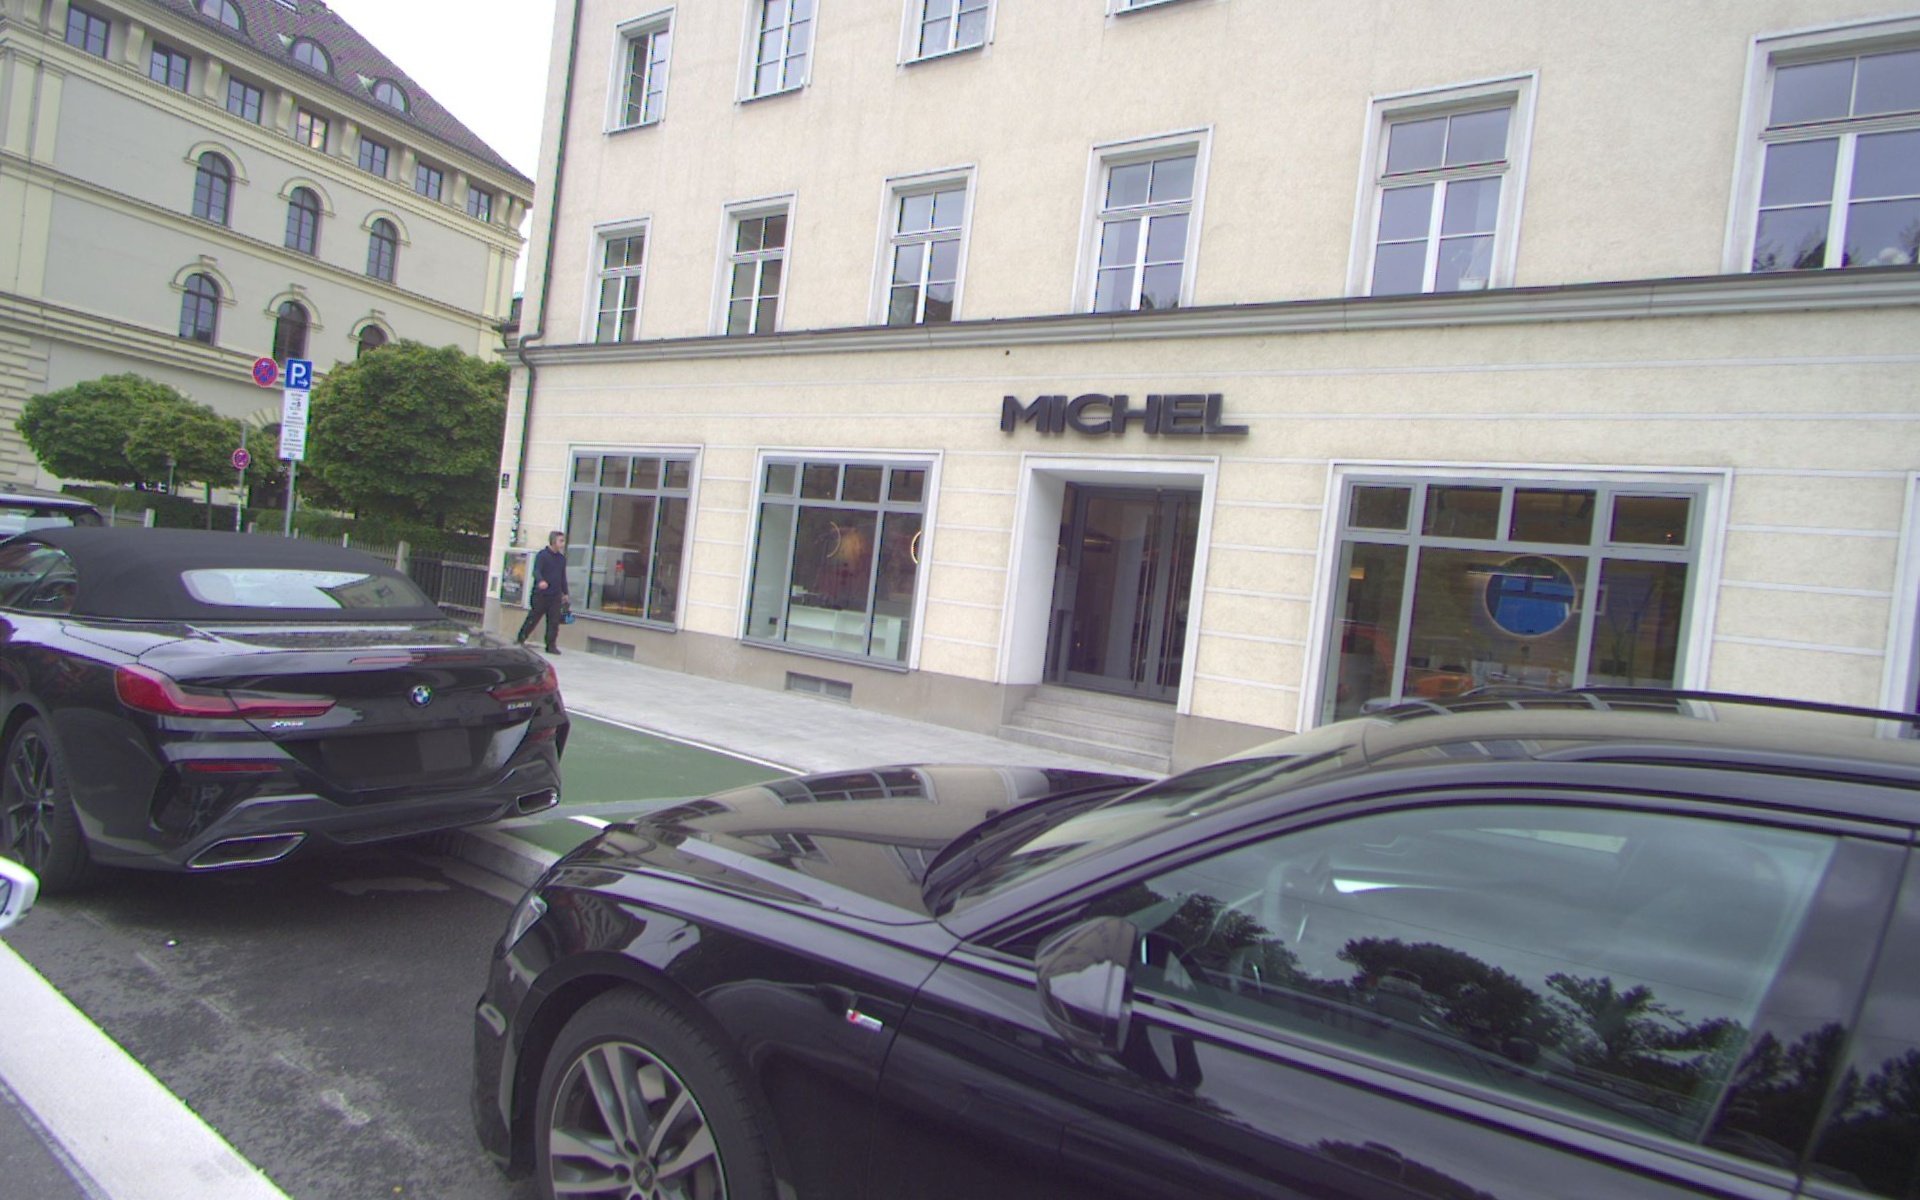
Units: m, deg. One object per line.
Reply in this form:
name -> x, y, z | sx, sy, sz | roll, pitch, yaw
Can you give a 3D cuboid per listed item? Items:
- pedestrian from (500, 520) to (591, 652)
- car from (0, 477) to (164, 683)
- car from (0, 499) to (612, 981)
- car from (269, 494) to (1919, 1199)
pedestrian -> -6.260, -0.204, 15.196 | 0.764, 1.859, 0.791 | 8, 1, 33
car -> -8.394, -0.309, 8.424 | 3.368, 1.514, 1.612 | 7, 0, 32
car -> -3.922, 0.333, 5.037 | 4.353, 1.403, 1.682 | 7, 0, 32
car -> 0.900, 0.812, 1.956 | 4.607, 1.498, 1.804 | 7, 1, 30
